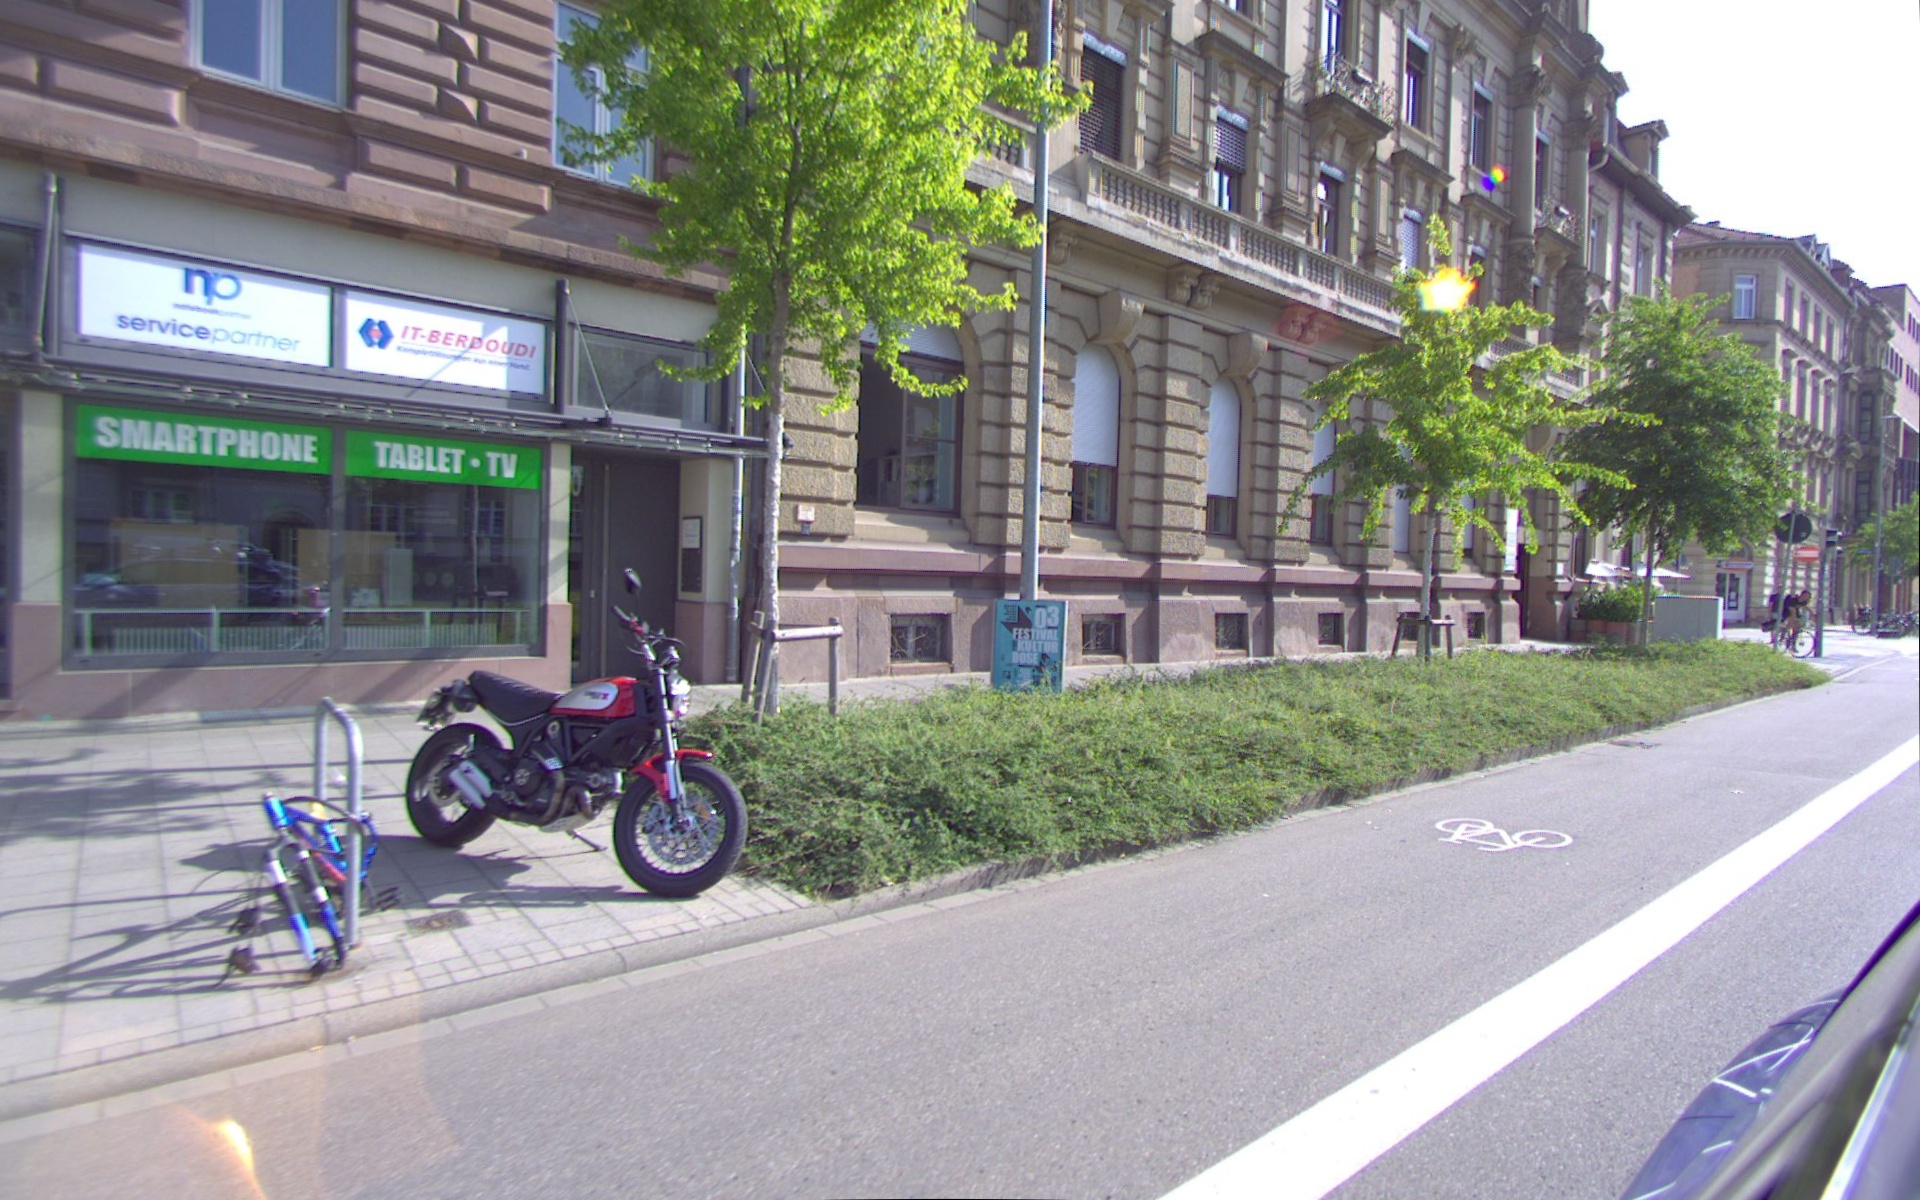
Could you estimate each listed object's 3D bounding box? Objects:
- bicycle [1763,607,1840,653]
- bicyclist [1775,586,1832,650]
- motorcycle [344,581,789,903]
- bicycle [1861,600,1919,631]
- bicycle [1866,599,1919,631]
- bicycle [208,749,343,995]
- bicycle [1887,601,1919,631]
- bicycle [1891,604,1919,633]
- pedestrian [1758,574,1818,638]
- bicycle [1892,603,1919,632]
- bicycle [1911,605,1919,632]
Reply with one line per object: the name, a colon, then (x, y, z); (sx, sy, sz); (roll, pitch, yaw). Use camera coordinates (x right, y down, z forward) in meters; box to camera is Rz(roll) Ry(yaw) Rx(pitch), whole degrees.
bicycle: (20.923, 0.735, 25.209); (0.498, 0.964, 1.783); (3, 3, 5)
bicyclist: (20.917, 0.440, 25.115); (0.575, 1.500, 0.931); (3, 3, 5)
motorcycle: (-1.954, 0.616, 5.060); (2.012, 1.302, 0.702); (4, 2, 15)
bicycle: (36.994, 0.601, 40.114); (0.572, 1.100, 1.759); (1, 4, -36)
bicycle: (37.494, 0.596, 40.436); (0.572, 1.100, 1.759); (1, 4, -36)
bicycle: (-2.623, 0.976, 3.852); (0.354, 0.617, 0.961); (0, 3, -38)
bicycle: (38.750, 0.686, 40.885); (0.656, 1.100, 1.763); (1, 5, -34)
bicycle: (40.486, 0.813, 42.609); (1.755, 1.100, 0.648); (7, 5, 41)
pedestrian: (24.819, 0.170, 30.353); (0.978, 1.828, 0.861); (4, 1, 12)
bicycle: (39.811, 0.769, 41.786); (1.745, 1.100, 0.666); (6, 4, 28)
bicycle: (41.945, 0.865, 43.256); (1.755, 1.100, 0.602); (7, 5, 41)
